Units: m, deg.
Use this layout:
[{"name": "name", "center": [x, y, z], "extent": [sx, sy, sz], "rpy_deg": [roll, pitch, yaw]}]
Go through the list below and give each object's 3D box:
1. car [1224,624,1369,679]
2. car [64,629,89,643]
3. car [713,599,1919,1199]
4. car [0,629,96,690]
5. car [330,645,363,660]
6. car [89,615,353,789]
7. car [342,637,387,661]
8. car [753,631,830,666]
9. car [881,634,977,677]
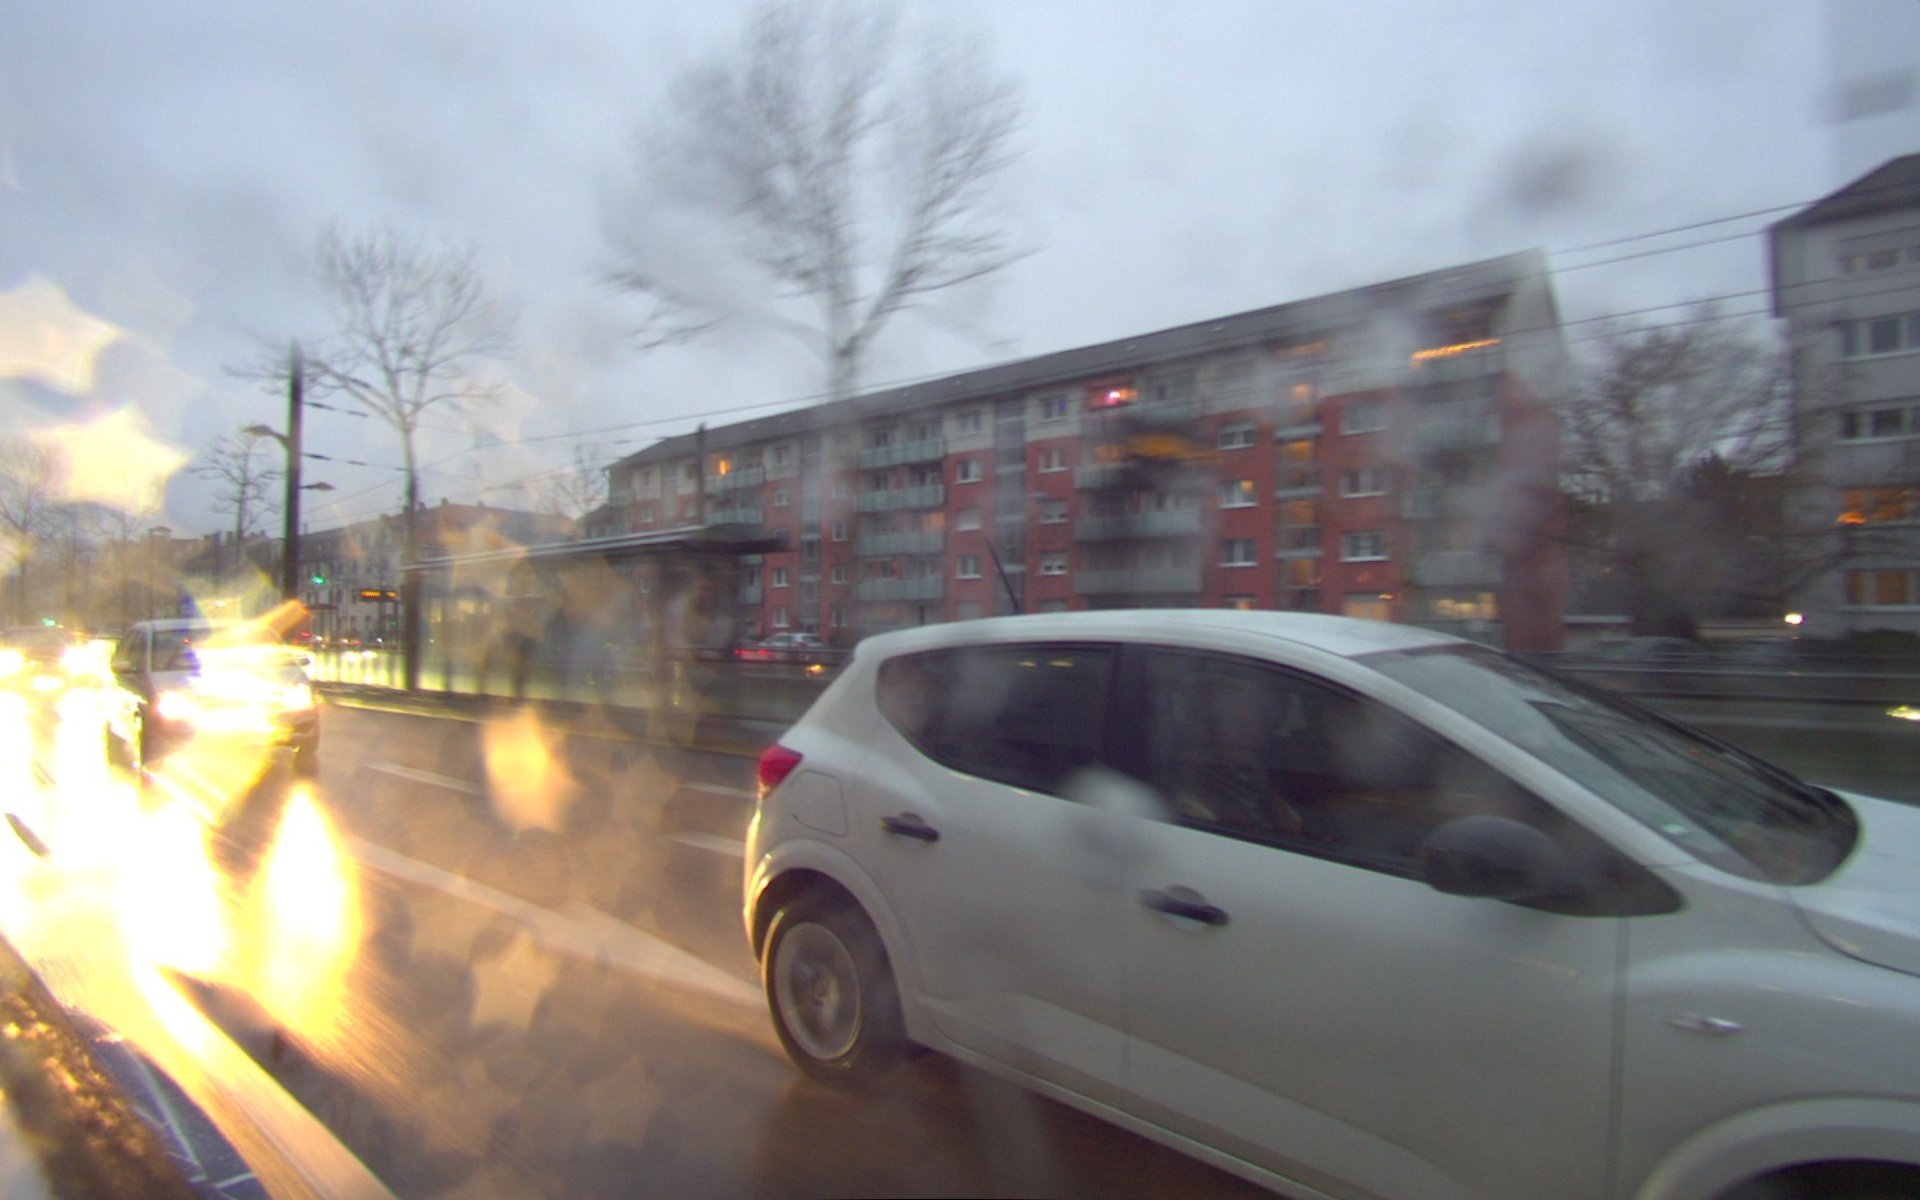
[{"name": "car", "center": [10.894, 1.617, 32.909], "extent": [4.150, 1.658, 1.706], "rpy_deg": [-1, -1, 43]}, {"name": "car", "center": [-101.902, 4.144, 116.724], "extent": [3.744, 1.651, 1.508], "rpy_deg": [-1, -2, 38]}, {"name": "car", "center": [1.186, 0.754, 2.751], "extent": [4.000, 1.477, 1.689], "rpy_deg": [-1, -1, 43]}, {"name": "car", "center": [-25.010, 1.562, 27.262], "extent": [4.087, 1.513, 1.951], "rpy_deg": [-2, -2, 39]}, {"name": "car", "center": [-41.297, 3.525, 68.115], "extent": [2.489, 0.945, 1.132], "rpy_deg": [-1, -2, 40]}, {"name": "car", "center": [-8.865, 1.023, 12.010], "extent": [1.992, 1.690, 4.003], "rpy_deg": [1, -1, -44]}, {"name": "car", "center": [-39.404, 3.228, 66.937], "extent": [3.235, 1.446, 1.670], "rpy_deg": [-1, -1, 42]}, {"name": "car", "center": [-8.281, 2.329, 49.482], "extent": [1.704, 1.556, 4.155], "rpy_deg": [1, -1, -43]}, {"name": "car", "center": [-1.374, 2.346, 43.449], "extent": [4.150, 1.658, 1.706], "rpy_deg": [-1, -1, 43]}]
